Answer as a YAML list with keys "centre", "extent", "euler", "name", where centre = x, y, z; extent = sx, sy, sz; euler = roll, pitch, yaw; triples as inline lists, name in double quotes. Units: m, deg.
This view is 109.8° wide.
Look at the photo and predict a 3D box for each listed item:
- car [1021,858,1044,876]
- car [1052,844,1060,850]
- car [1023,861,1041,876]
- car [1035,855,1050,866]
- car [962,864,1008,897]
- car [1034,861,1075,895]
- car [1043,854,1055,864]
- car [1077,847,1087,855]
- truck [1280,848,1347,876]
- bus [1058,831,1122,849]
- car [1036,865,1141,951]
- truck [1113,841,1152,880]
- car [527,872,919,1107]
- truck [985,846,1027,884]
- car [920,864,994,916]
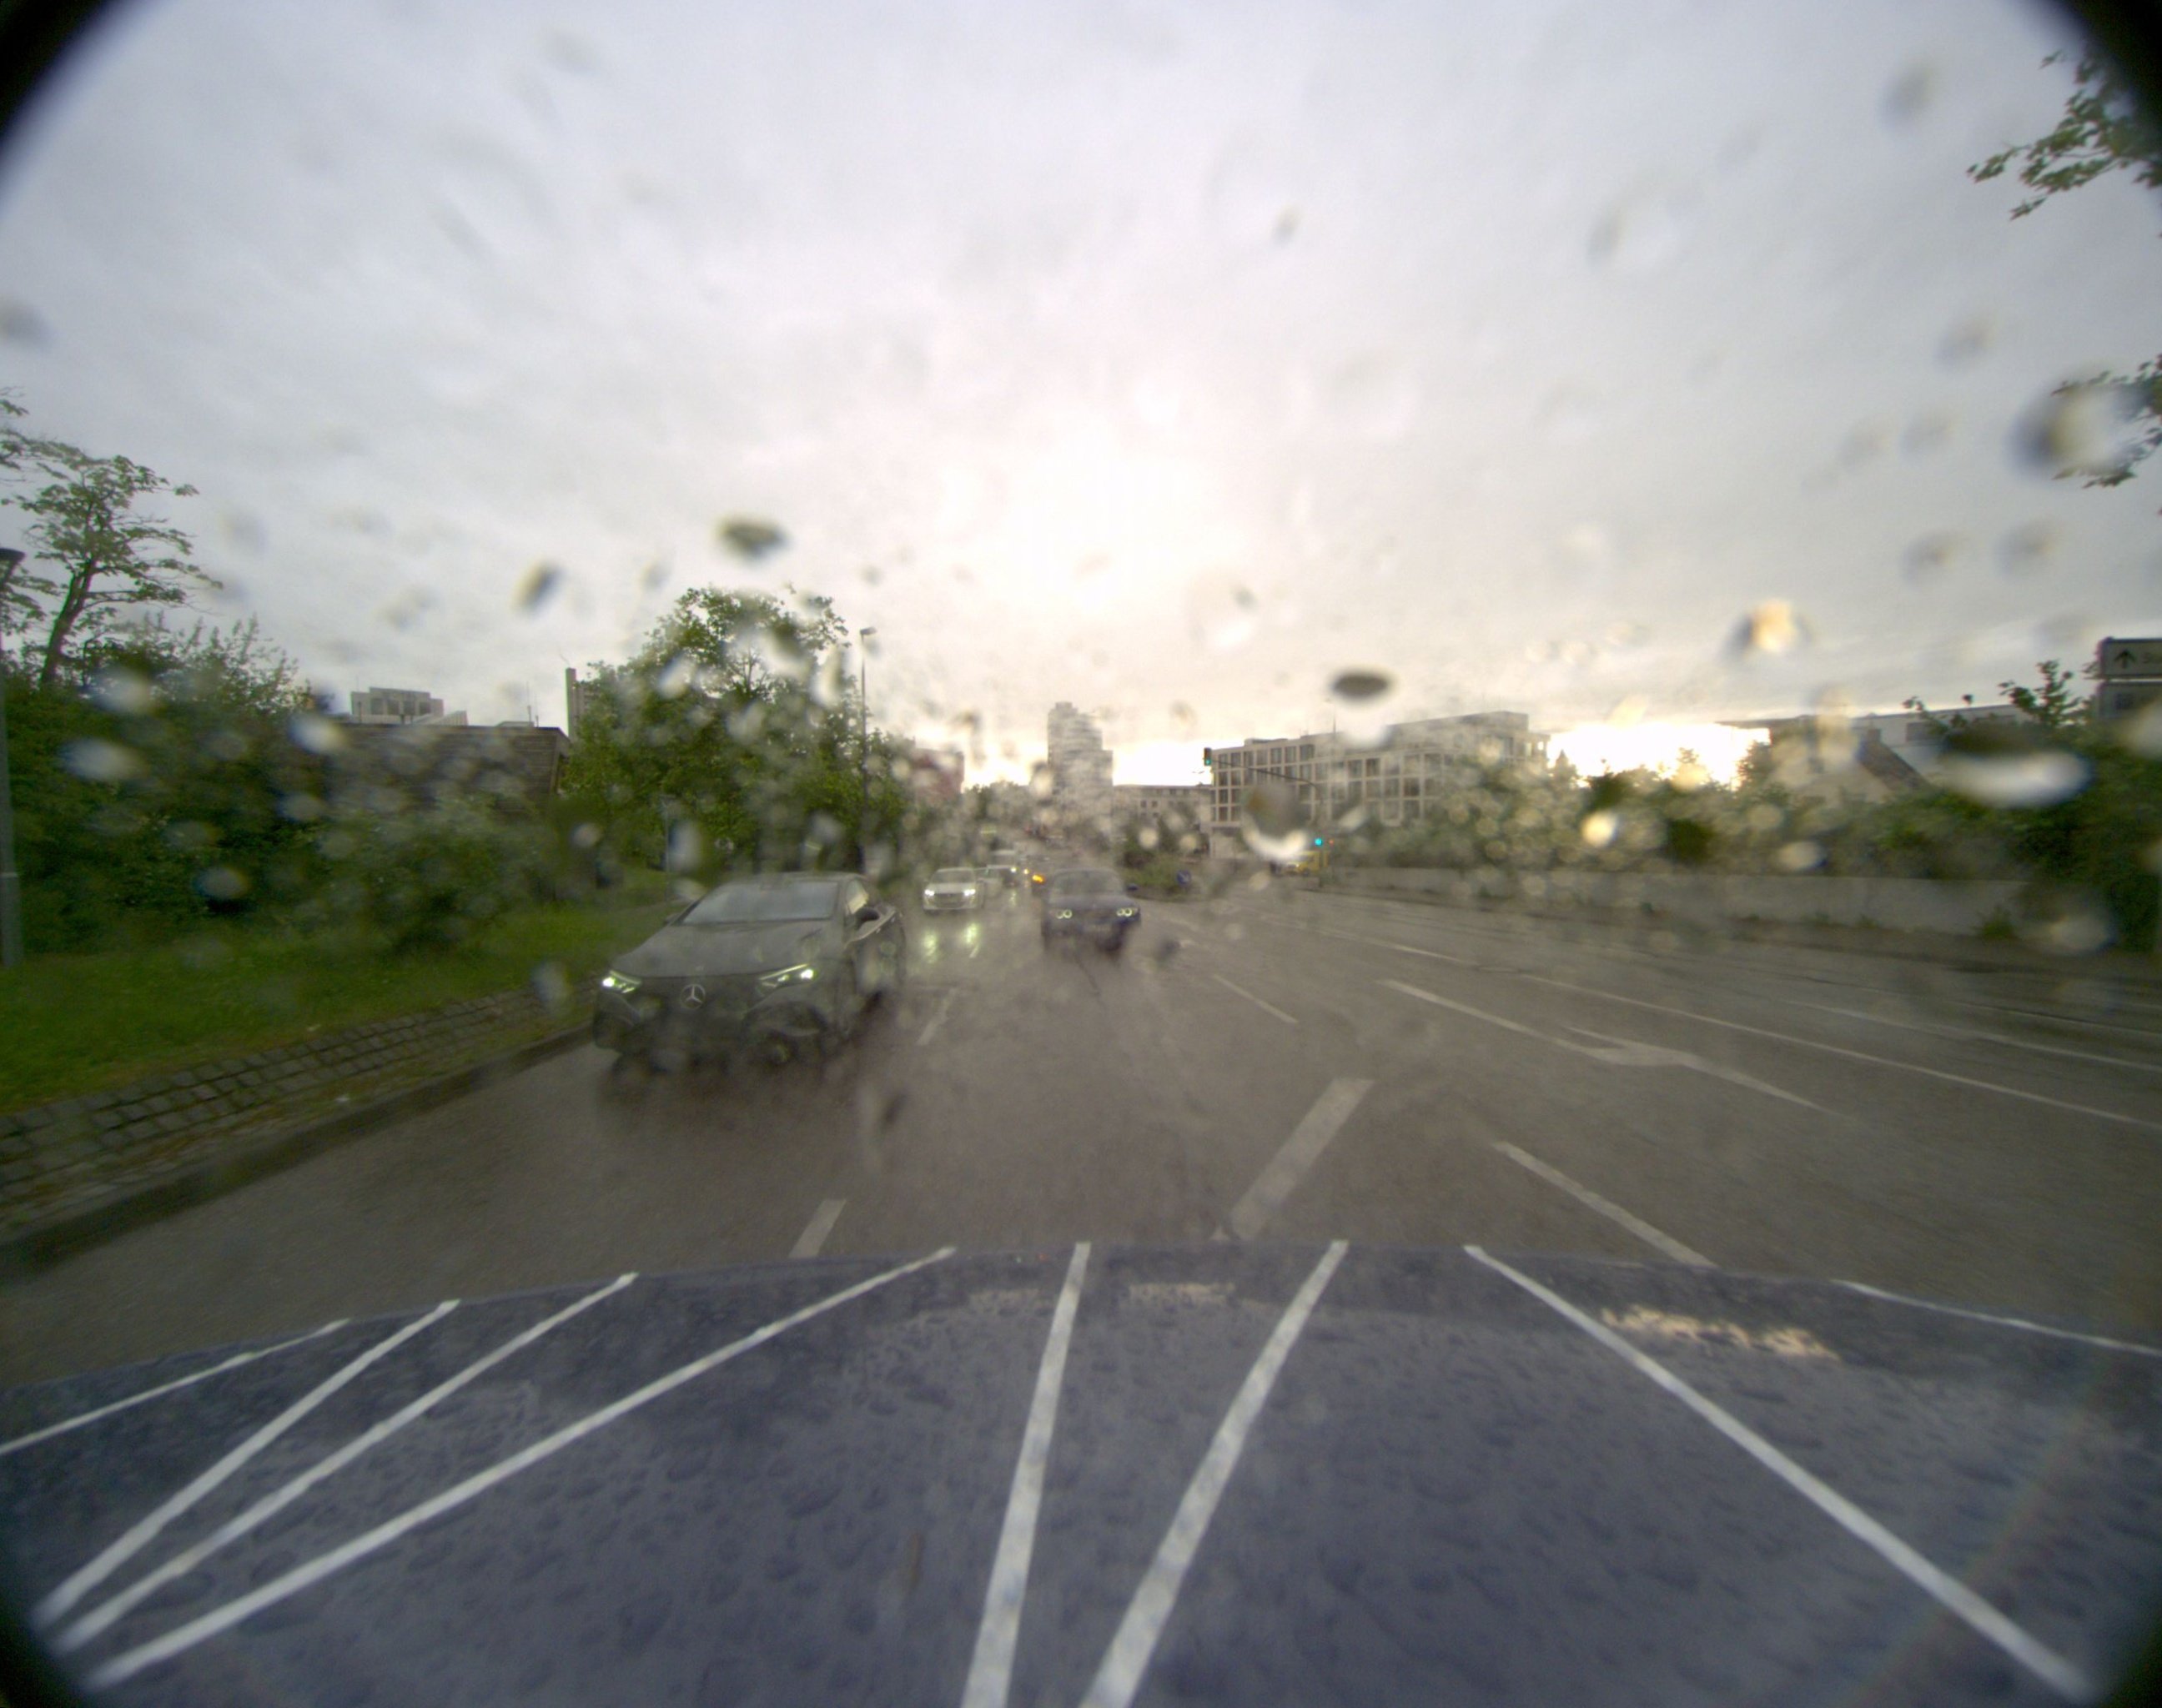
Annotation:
- centre: [-4.385, 1.193, 69.409]
  extent: [1.999, 1.543, 3.999]
  euler: [-1, 0, -3]
  name: "car"
- centre: [-6.208, -1.691, 188.330]
  extent: [1.908, 1.543, 4.074]
  euler: [0, 1, -1]
  name: "car"
- centre: [-5.608, 1.645, 87.758]
  extent: [1.999, 1.543, 3.999]
  euler: [-2, 0, -3]
  name: "car"
- centre: [-5.505, 0.949, 109.284]
  extent: [1.999, 1.543, 3.999]
  euler: [-2, 0, -3]
  name: "car"
- centre: [-4.662, 1.267, 37.388]
  extent: [1.718, 1.369, 3.734]
  euler: [-3, 1, 0]
  name: "car"
- centre: [-1.207, 1.076, 35.788]
  extent: [1.718, 1.369, 3.734]
  euler: [-3, 1, 0]
  name: "car"
- centre: [-5.401, 0.844, 126.955]
  extent: [1.999, 1.543, 3.999]
  euler: [-2, 0, -3]
  name: "car"
- centre: [0.178, -0.639, 150.909]
  extent: [1.999, 1.406, 4.429]
  euler: [-1, 1, -1]
  name: "car"
- centre: [22.155, 0.744, 72.347]
  extent: [6.185, 2.523, 2.223]
  euler: [1, 1, -28]
  name: "truck"
- centre: [1.761, -3.334, 174.588]
  extent: [2.959, 3.972, 18.173]
  euler: [-1, 2, -43]
  name: "bus"
- centre: [0.139, 0.974, 15.123]
  extent: [1.787, 1.335, 3.704]
  euler: [-2, 1, 0]
  name: "car"
- centre: [3.425, 0.360, 51.438]
  extent: [2.169, 2.425, 6.198]
  euler: [-1, 1, 0]
  name: "truck"
- centre: [-3.042, 1.023, 7.719]
  extent: [1.836, 1.436, 4.549]
  euler: [-3, 1, -1]
  name: "car"
- centre: [-5.078, 0.688, 52.423]
  extent: [2.169, 2.425, 6.198]
  euler: [-1, 1, 0]
  name: "truck"
- centre: [-3.987, 1.110, 25.075]
  extent: [1.718, 1.389, 4.035]
  euler: [-3, 1, 0]
  name: "car"
